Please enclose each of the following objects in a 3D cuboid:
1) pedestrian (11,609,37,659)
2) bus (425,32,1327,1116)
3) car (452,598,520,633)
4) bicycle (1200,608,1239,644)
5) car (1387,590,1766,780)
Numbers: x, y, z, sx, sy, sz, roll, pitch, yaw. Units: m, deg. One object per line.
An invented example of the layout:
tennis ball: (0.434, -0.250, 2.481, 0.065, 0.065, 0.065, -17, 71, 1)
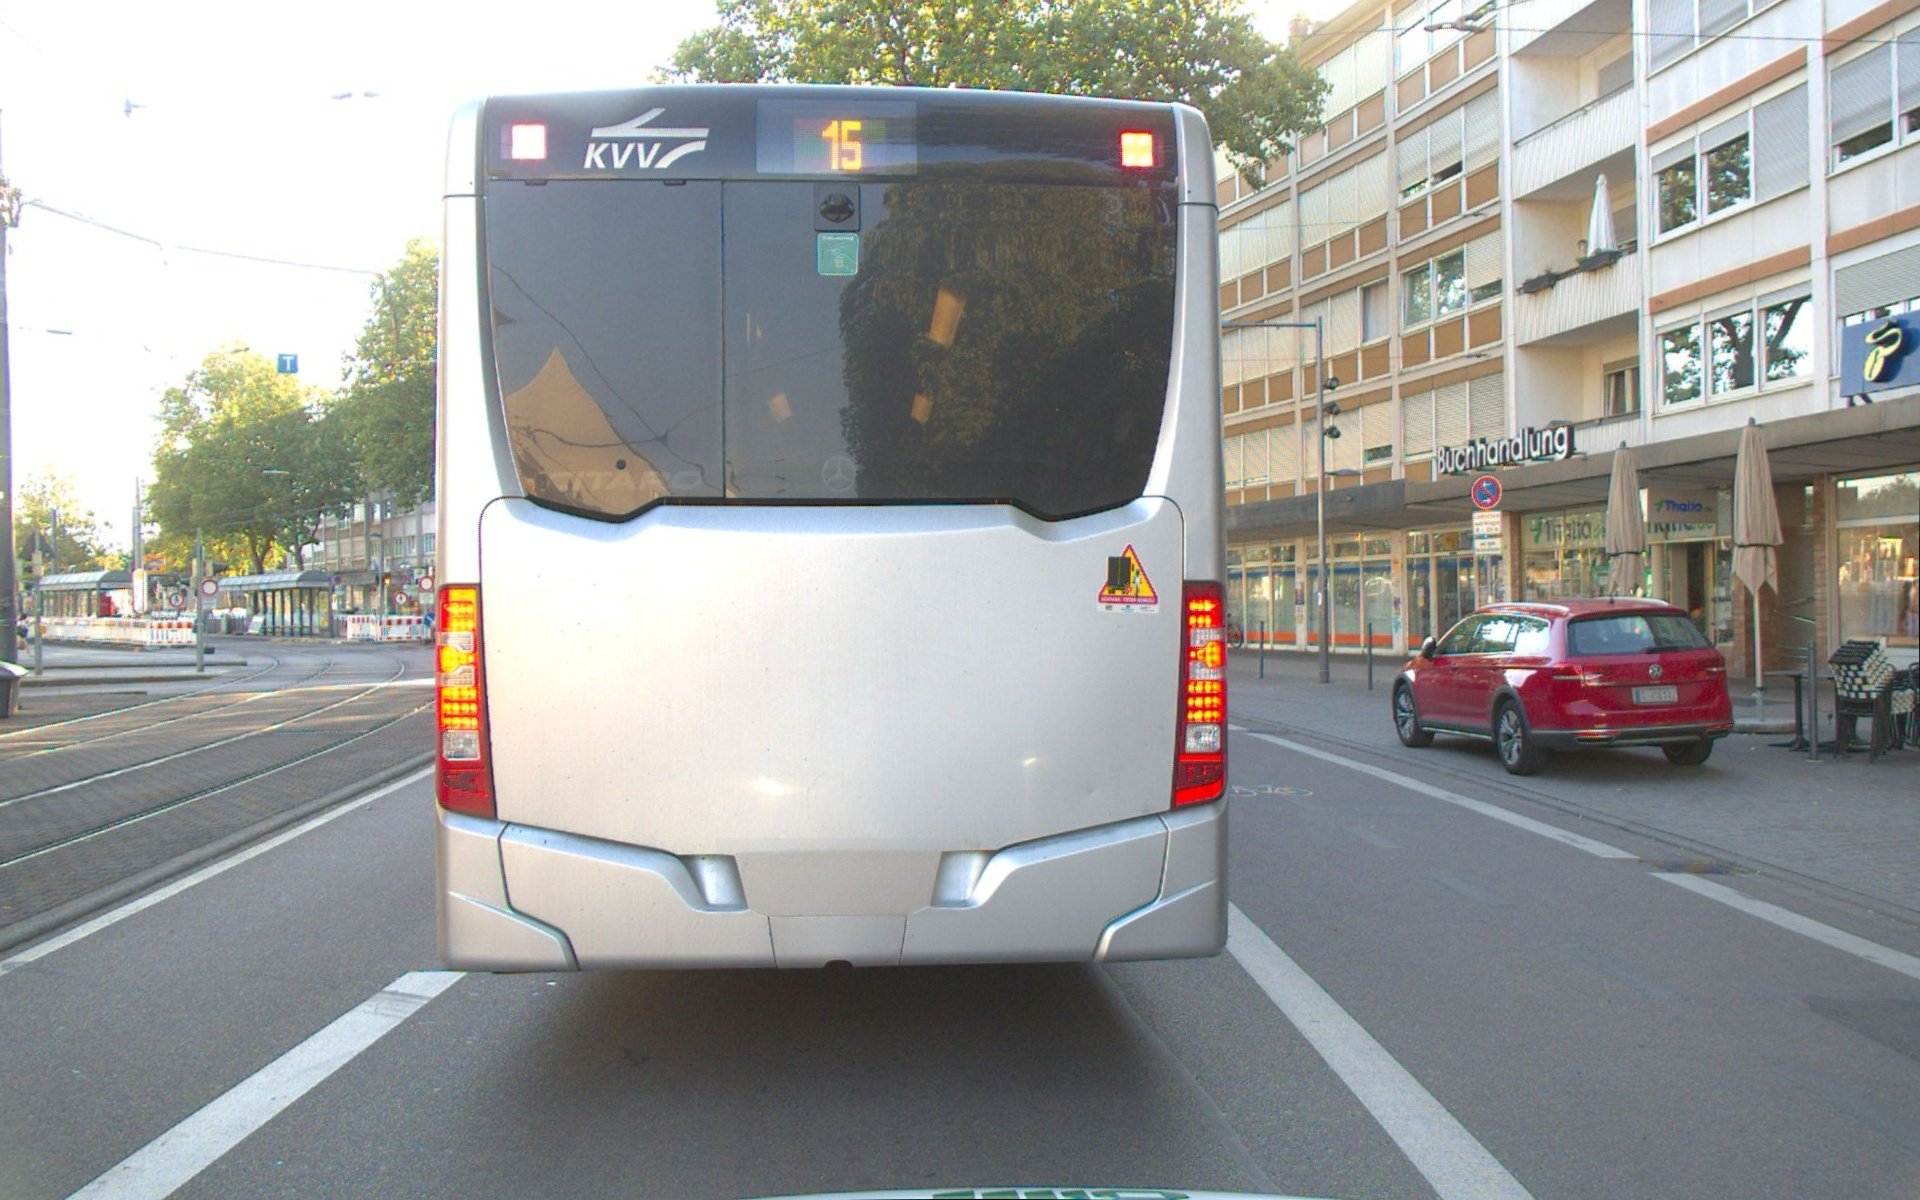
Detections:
pedestrian: (-32.007, 1.166, 56.560, 0.653, 1.685, 0.436, -1, -1, -44)
bus: (-0.436, -0.059, 9.763, 2.578, 3.081, 9.992, 0, 0, -3)
car: (-25.121, 0.801, 87.569, 1.982, 1.823, 3.940, 1, -1, -41)
bicycle: (7.183, 0.716, 45.765, 0.406, 0.961, 1.431, -1, 0, -20)
car: (5.698, 0.708, 15.922, 1.735, 1.508, 4.299, -2, 0, -4)
